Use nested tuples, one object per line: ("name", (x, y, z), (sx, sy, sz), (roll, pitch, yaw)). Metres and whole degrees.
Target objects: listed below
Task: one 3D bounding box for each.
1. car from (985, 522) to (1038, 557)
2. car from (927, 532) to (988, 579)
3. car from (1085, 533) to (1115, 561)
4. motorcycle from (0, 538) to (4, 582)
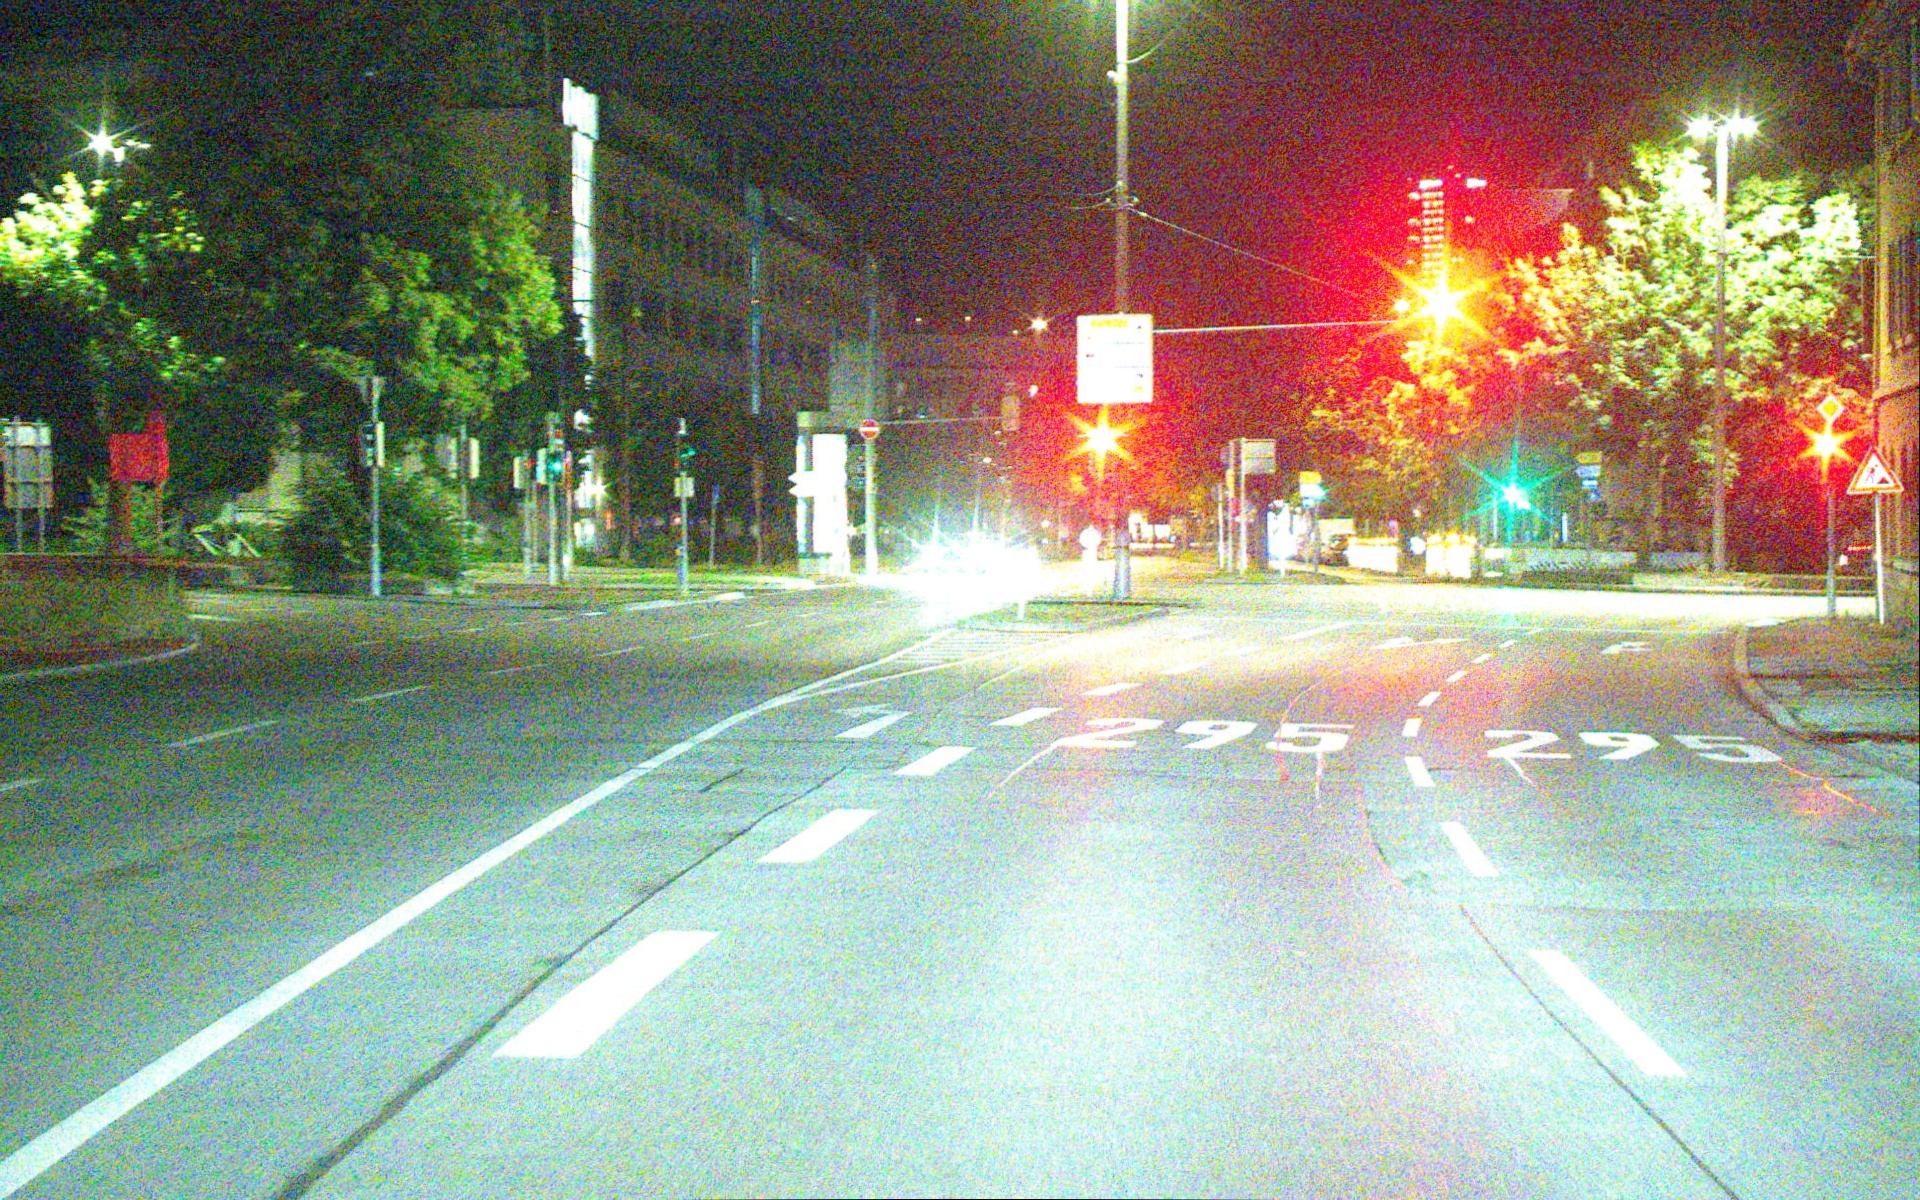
("car", (2.012, -2.343, 133.949), (1.758, 1.317, 3.547), (1, 1, 5))
("car", (-0.066, -1.466, 114.340), (1.616, 1.509, 3.999), (1, 1, 6))
("car", (9.061, -3.414, 222.199), (1.758, 1.722, 3.547), (1, 1, 5))
("motorcycle", (-20.347, -0.827, 70.691), (0.578, 0.893, 2.155), (-3, 3, -37))
